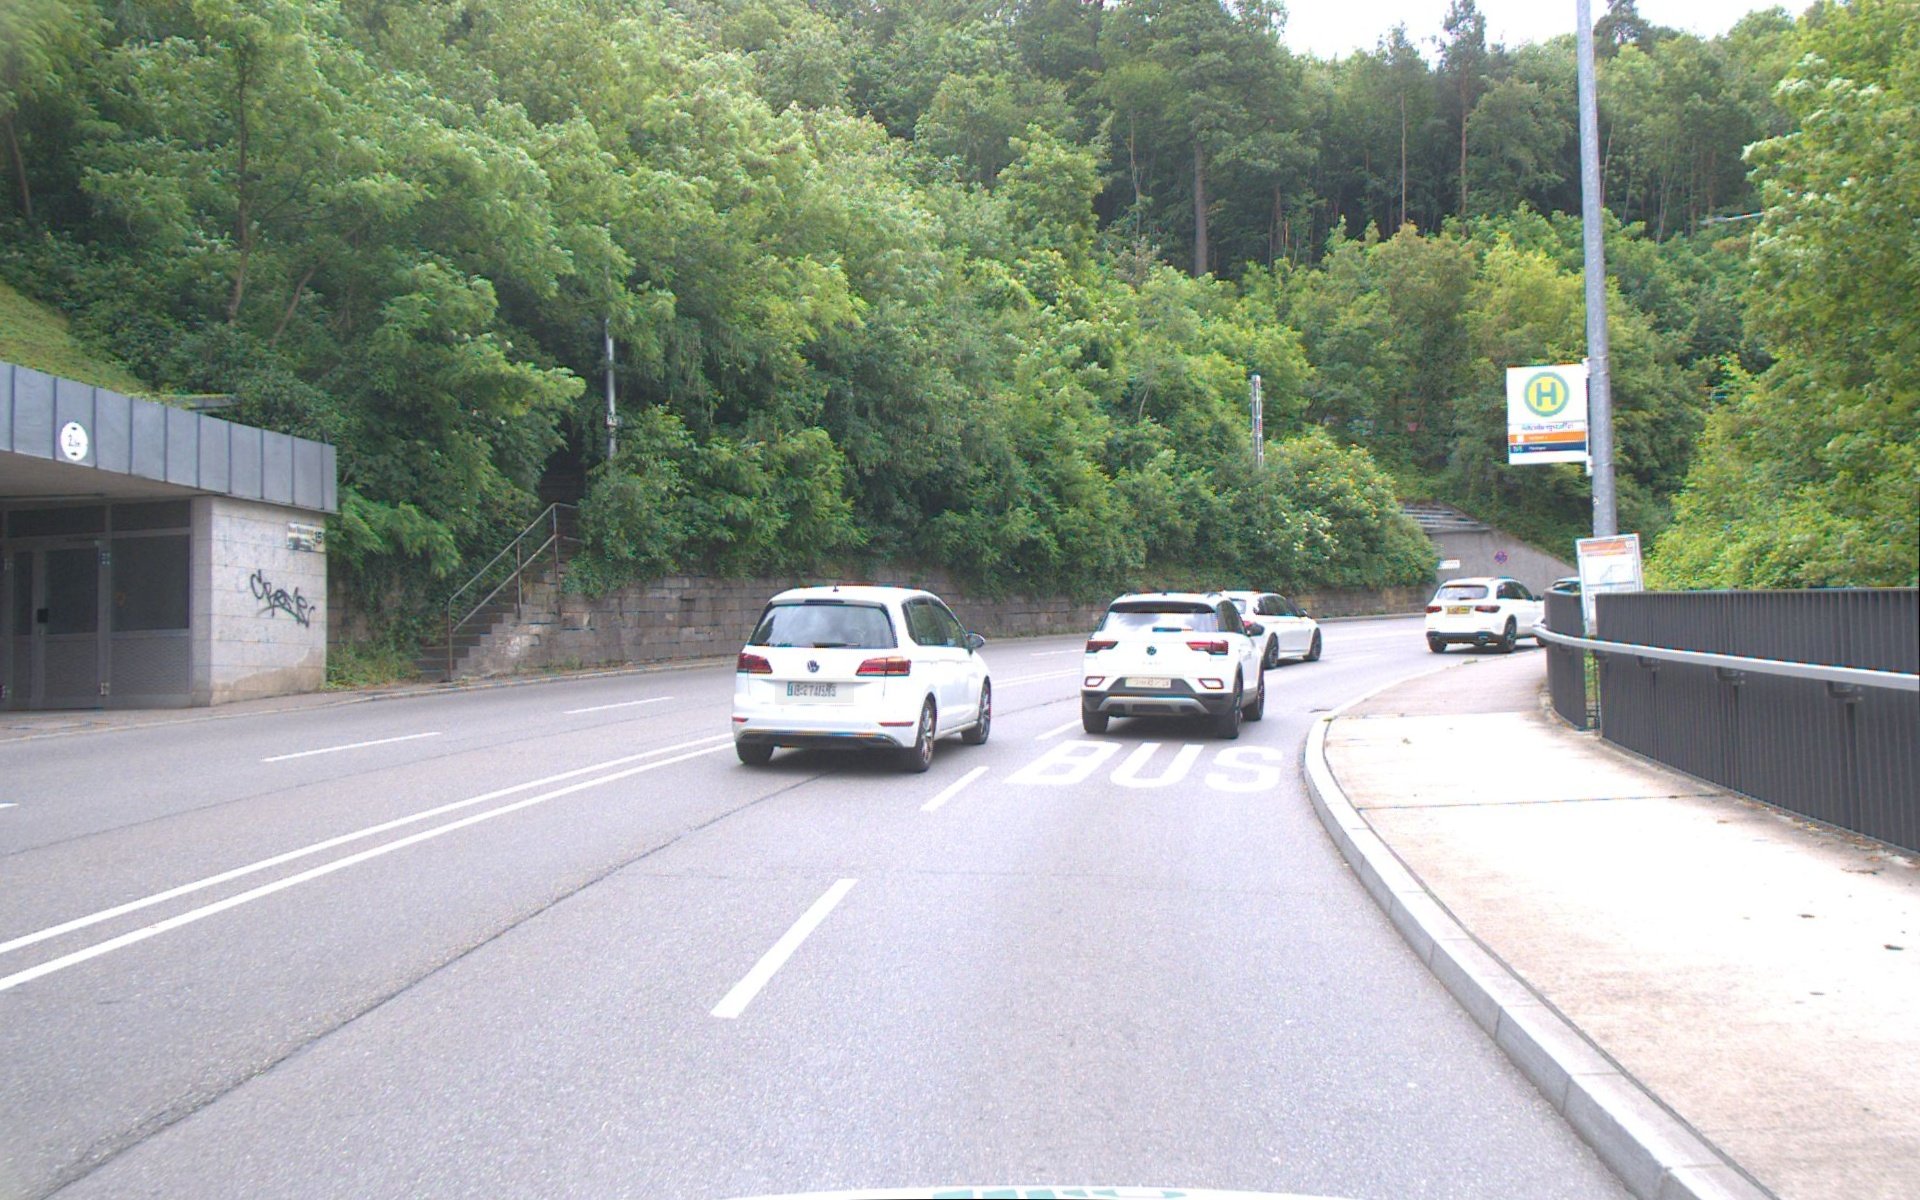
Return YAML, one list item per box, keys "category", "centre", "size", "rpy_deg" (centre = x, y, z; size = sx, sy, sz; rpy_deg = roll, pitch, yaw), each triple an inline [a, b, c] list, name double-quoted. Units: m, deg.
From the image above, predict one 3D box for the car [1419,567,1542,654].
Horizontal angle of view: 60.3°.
- category: "car"
  centre: [12.132, 0.266, 38.391]
  size: [1.956, 1.875, 4.143]
  rpy_deg: [1, -1, 28]

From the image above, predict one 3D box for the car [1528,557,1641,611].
- category: "car"
  centre: [19.797, -0.499, 52.371]
  size: [4.276, 1.545, 1.718]
  rpy_deg: [2, -1, -45]

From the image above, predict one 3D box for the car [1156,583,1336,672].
- category: "car"
  centre: [5.846, 0.496, 33.320]
  size: [1.958, 1.584, 4.670]
  rpy_deg: [3, 2, 31]

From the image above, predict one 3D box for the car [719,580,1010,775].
- category: "car"
  centre: [-0.745, 0.634, 15.813]
  size: [1.683, 1.581, 4.279]
  rpy_deg: [0, 0, 12]

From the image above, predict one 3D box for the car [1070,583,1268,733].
- category: "car"
  centre: [2.573, 0.646, 19.542]
  size: [1.775, 1.566, 4.011]
  rpy_deg: [-1, -1, 15]
